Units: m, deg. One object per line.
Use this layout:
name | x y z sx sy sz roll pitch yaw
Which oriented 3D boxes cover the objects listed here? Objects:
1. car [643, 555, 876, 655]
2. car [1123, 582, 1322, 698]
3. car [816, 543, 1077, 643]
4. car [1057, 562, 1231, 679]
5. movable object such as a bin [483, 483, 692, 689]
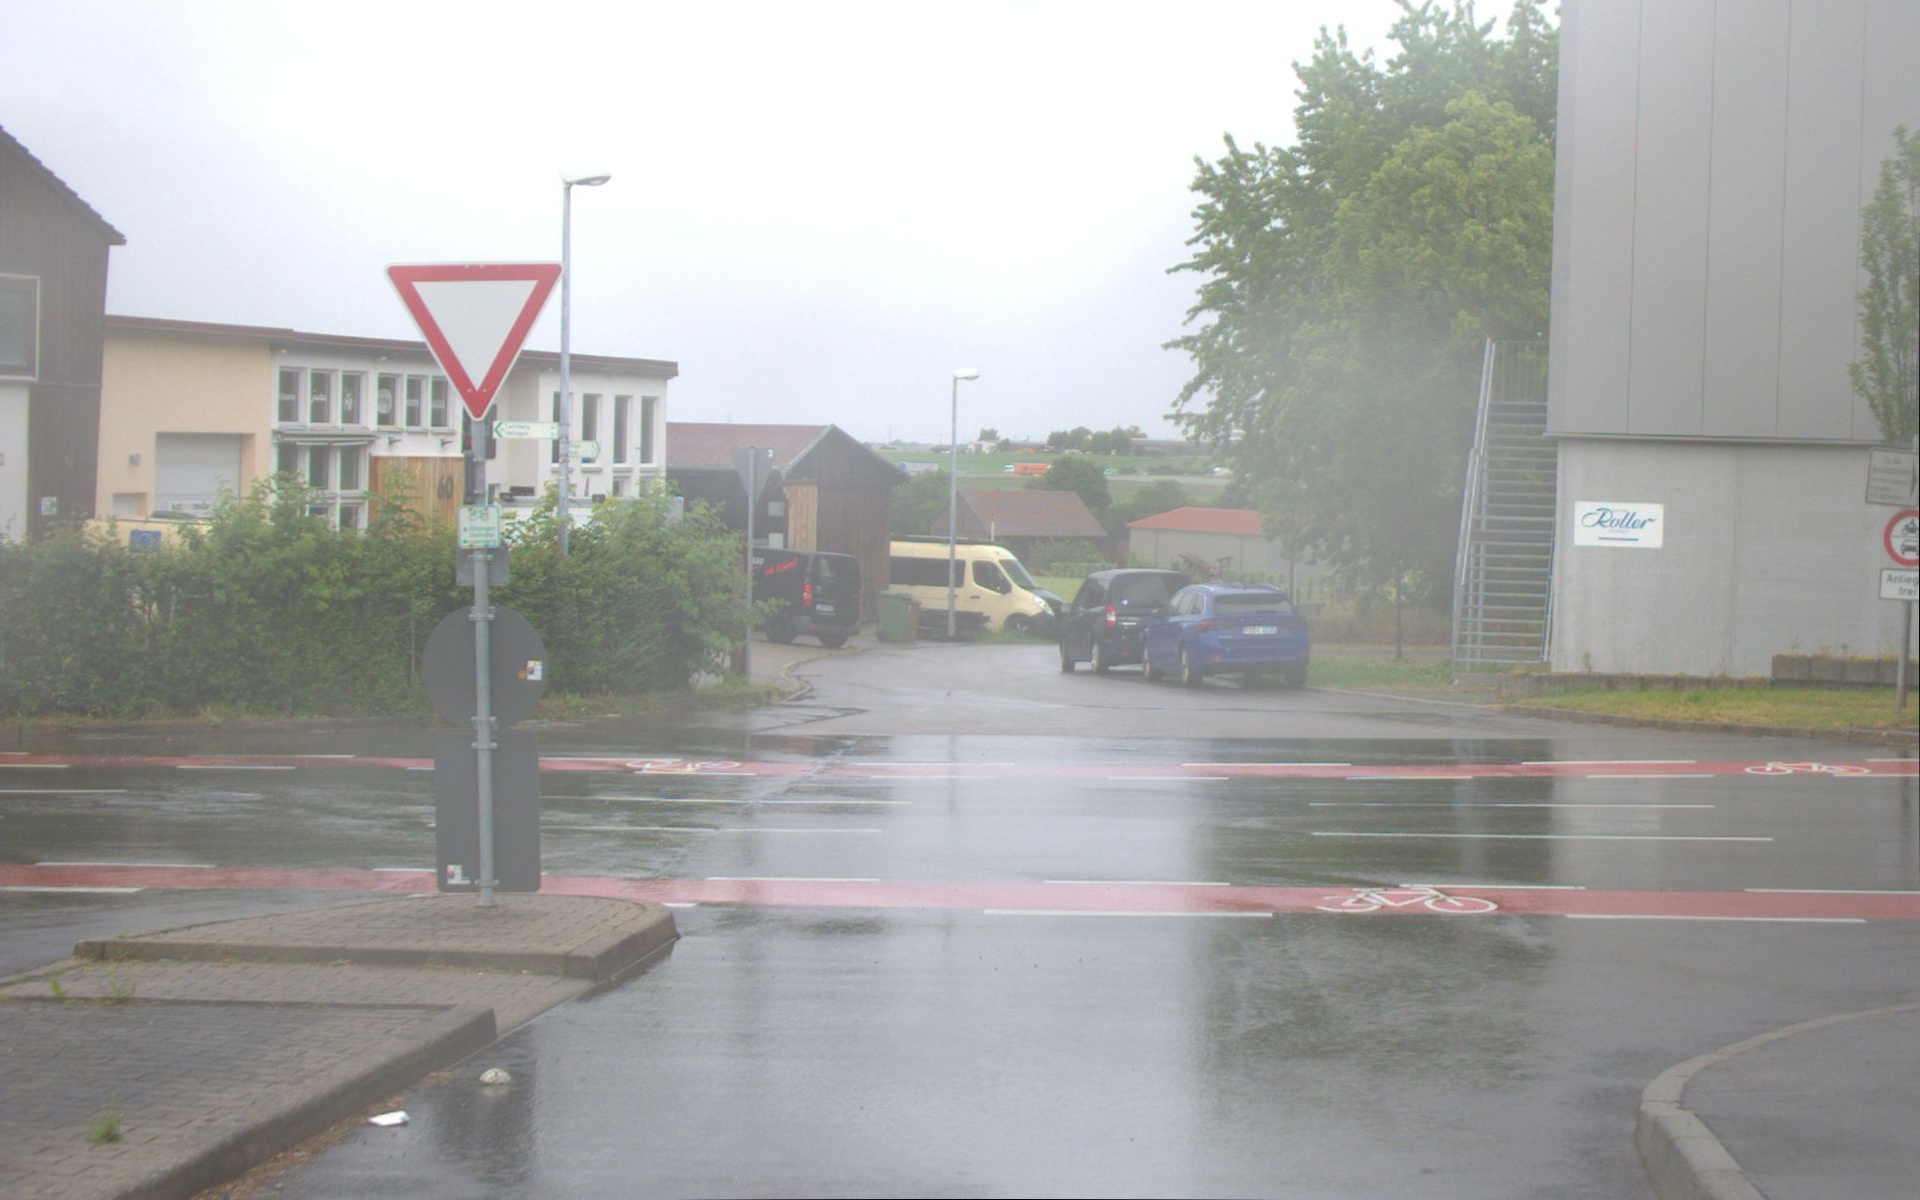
car | -3.990 0.087 67.996 4.406 1.898 1.995 1 0 40
car | 3.778 0.561 50.323 1.951 1.604 4.448 1 0 -8
car | -0.321 -0.176 85.567 6.014 2.407 2.461 1 0 18
car | 2.986 0.323 56.687 2.073 1.828 4.471 1 0 -7
movable object such as a bin | -4.772 -0.173 44.436 1.733 2.548 3.338 1 0 11
